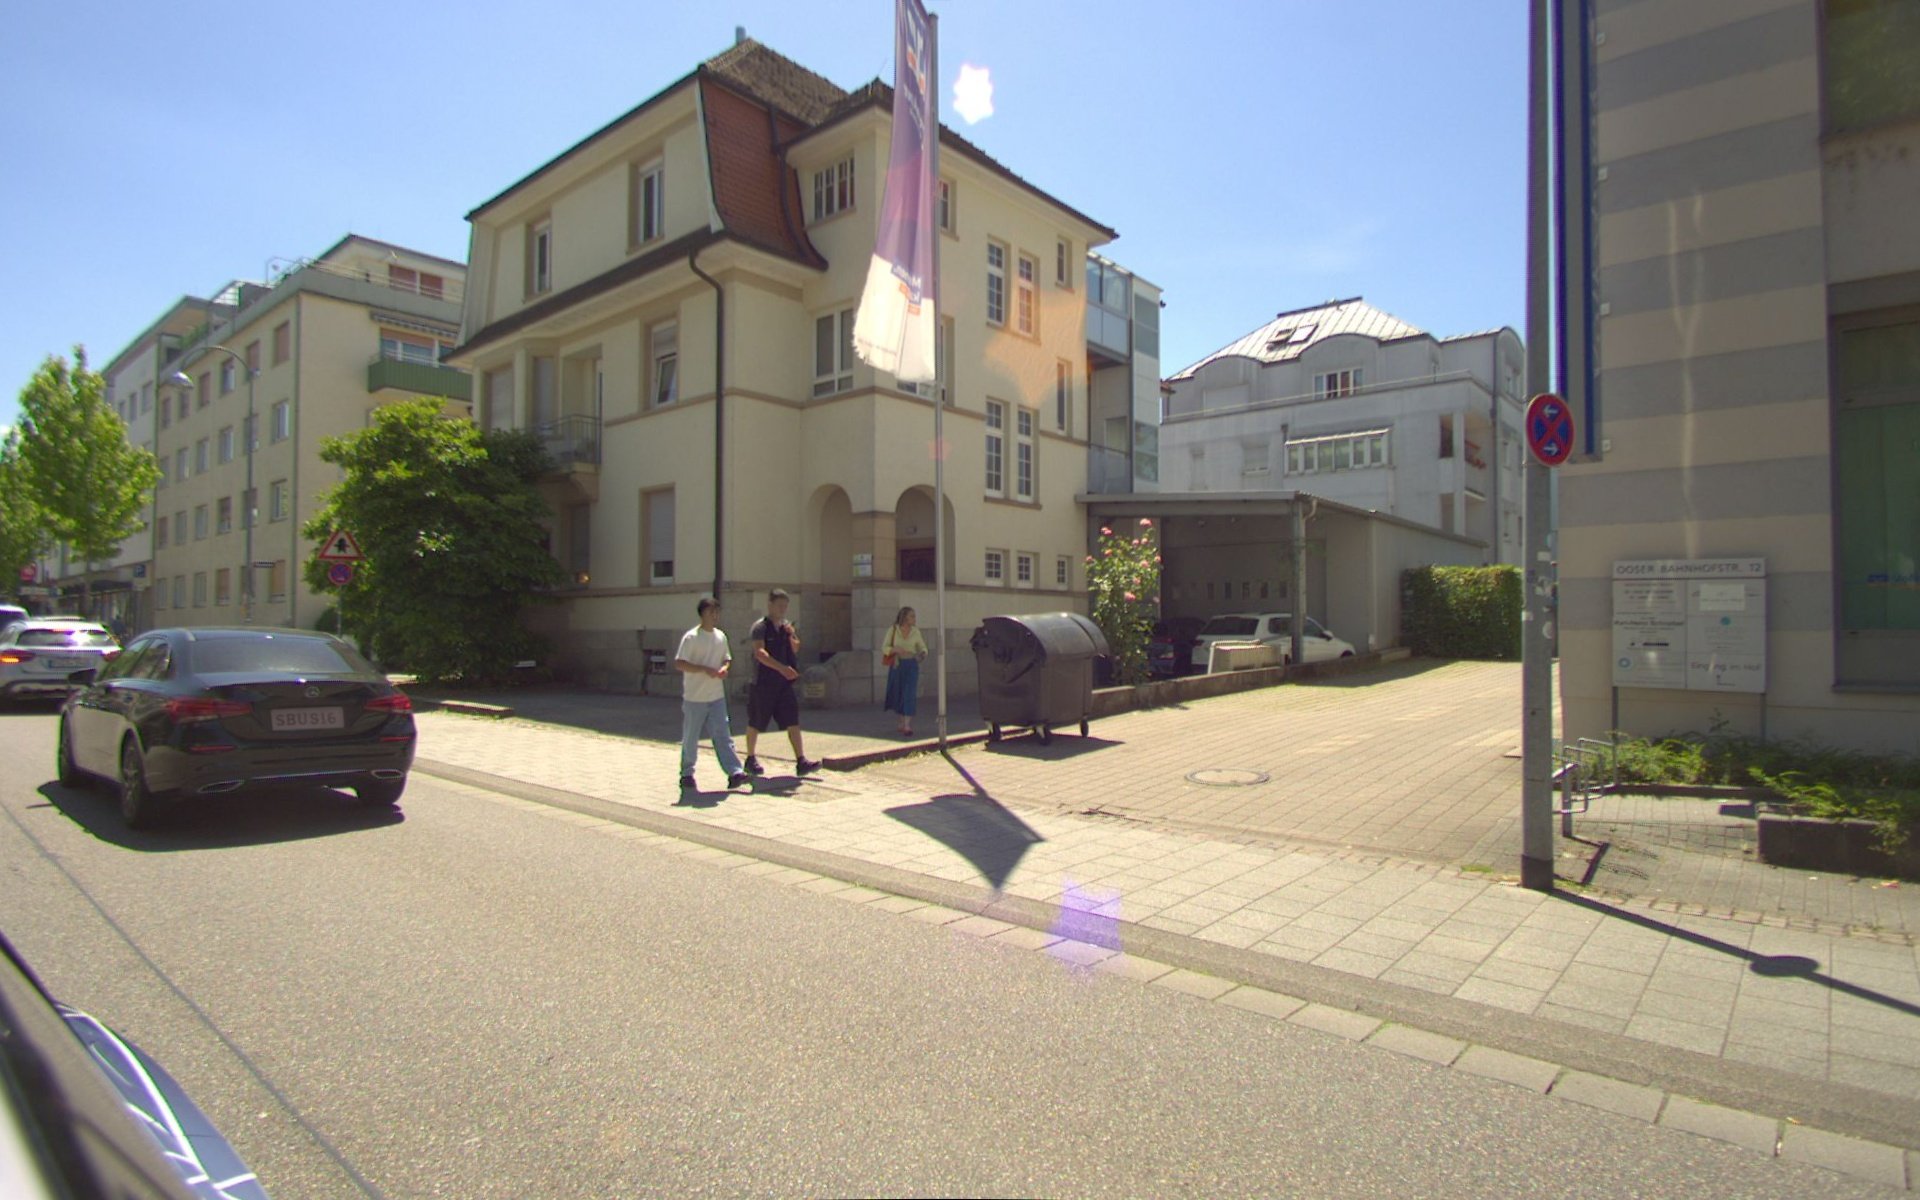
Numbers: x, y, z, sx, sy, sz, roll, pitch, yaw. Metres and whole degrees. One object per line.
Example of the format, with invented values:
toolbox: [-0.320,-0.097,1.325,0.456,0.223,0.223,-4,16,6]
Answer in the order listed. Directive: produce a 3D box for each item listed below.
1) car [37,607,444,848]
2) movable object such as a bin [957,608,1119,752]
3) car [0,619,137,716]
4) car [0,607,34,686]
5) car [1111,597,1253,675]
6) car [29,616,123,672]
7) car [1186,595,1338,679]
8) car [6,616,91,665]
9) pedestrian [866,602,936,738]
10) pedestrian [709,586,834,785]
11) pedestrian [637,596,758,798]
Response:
car: [-6.182,0.903,8.509,4.260,1.522,1.810,-2,-4,41]
movable object such as a bin: [0.919,0.866,11.784,1.294,1.499,1.372,-1,1,41]
car: [-16.110,1.126,17.821,4.029,1.522,1.810,-1,-3,41]
car: [-24.273,1.101,24.874,4.229,1.840,1.684,-1,-4,41]
car: [5.148,0.752,23.153,1.790,1.591,3.833,-1,0,36]
car: [-28.429,1.369,32.516,4.292,1.683,1.709,-1,-1,41]
car: [6.546,0.717,21.701,1.792,1.591,3.829,-1,0,39]
car: [-32.992,1.416,36.603,4.291,1.683,1.710,-1,-1,40]
pedestrian: [-0.765,0.887,13.092,0.734,1.687,0.534,-1,-3,40]
pedestrian: [-1.796,0.775,9.650,0.950,1.784,0.740,-1,-2,40]
pedestrian: [-2.344,0.821,9.035,0.903,1.689,0.614,-1,0,40]
